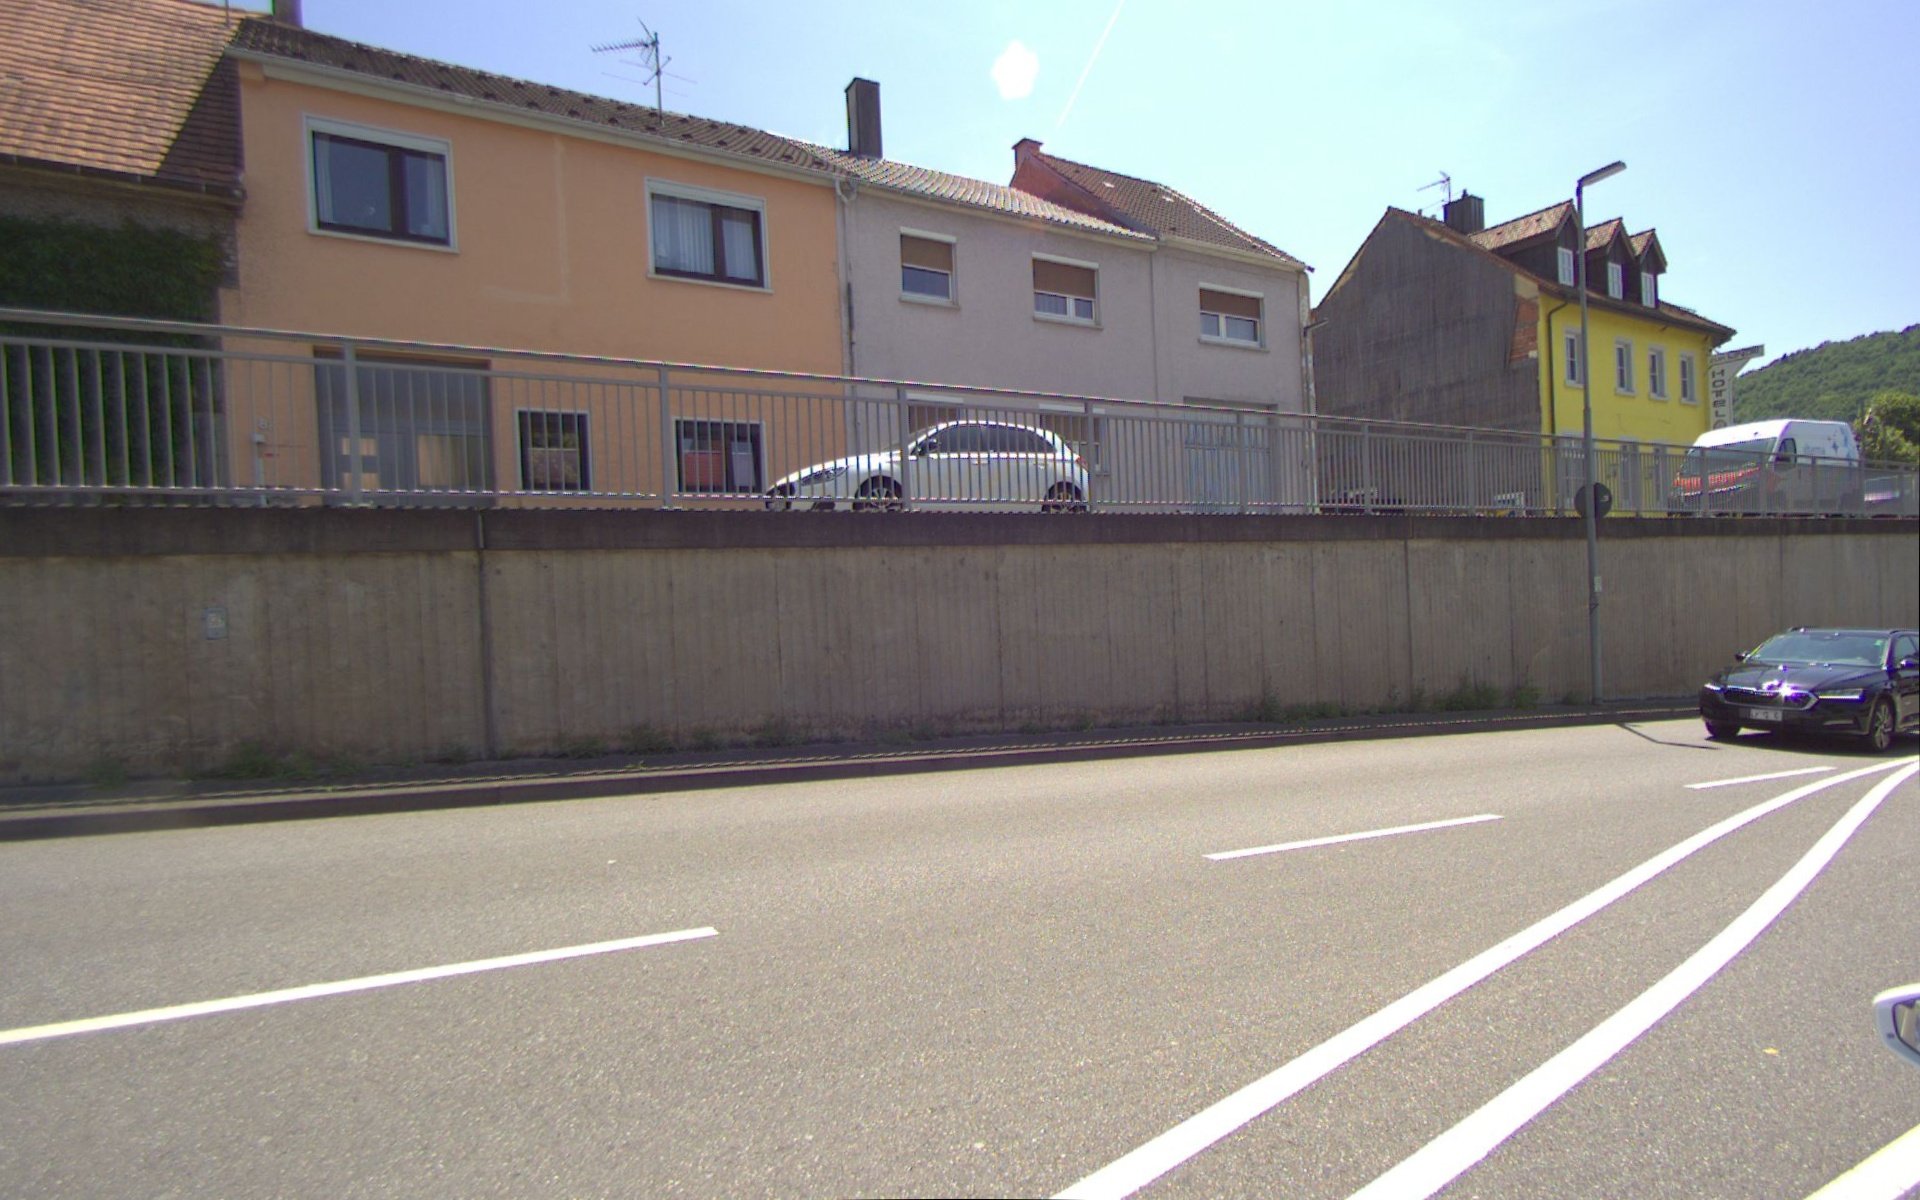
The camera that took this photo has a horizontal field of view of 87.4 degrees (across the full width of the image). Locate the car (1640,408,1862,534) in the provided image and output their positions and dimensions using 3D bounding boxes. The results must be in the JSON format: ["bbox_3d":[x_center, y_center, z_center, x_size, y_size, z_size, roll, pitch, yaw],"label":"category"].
[{"bbox_3d":[18.537,-2.877,23.473,5.590,2.571,2.057,-2,2,-29],"label":"car"}]

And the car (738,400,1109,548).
[{"bbox_3d":[-0.373,-1.441,12.451,4.262,1.482,1.803,-3,2,-33],"label":"car"}]

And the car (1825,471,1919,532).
[{"bbox_3d":[26.060,-2.699,28.117,3.997,1.521,1.610,-2,2,-31],"label":"car"}]

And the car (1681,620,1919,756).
[{"bbox_3d":[11.535,1.050,13.220,4.318,1.509,1.752,1,-1,-31],"label":"car"}]
